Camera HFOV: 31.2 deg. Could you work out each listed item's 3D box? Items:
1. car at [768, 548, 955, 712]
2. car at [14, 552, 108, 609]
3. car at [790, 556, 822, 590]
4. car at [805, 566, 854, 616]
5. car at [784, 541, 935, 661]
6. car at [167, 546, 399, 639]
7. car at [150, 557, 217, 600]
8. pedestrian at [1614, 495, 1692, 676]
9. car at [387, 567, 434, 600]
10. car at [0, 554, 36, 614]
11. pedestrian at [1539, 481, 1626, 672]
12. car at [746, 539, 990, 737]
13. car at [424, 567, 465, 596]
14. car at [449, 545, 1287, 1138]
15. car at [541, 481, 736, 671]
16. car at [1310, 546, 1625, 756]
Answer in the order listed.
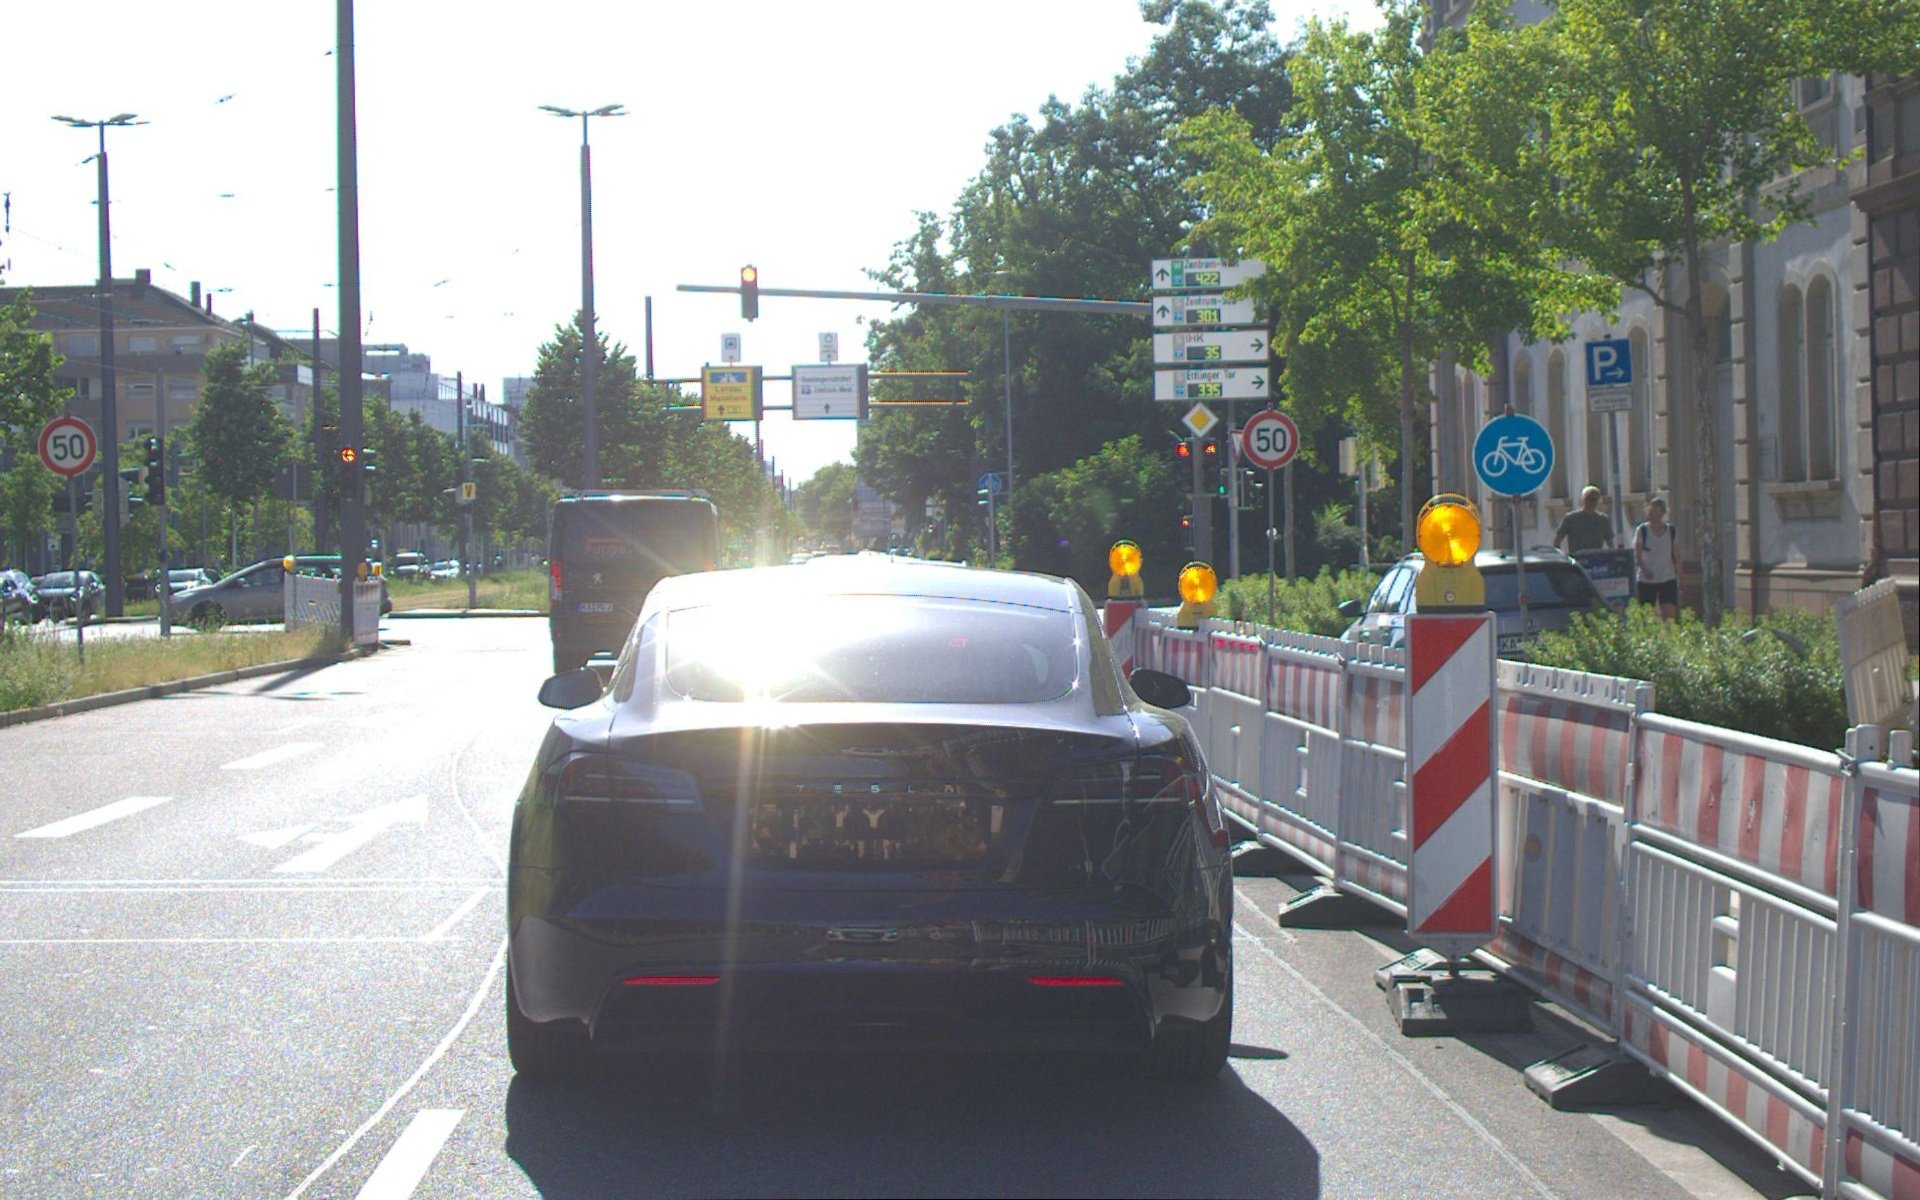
[{"bbox_3d":[-0.952,0.250,34.286,1.749,1.522,4.005,0,1,-1],"label":"car"},{"bbox_3d":[-26.942,-0.599,103.097,1.790,1.645,4.000,-1,1,-1],"label":"car"},{"bbox_3d":[-8.809,-1.548,196.638,1.791,1.867,3.850,1,0,-3],"label":"car"},{"bbox_3d":[-4.975,-0.350,130.643,1.791,1.867,3.850,1,0,-3],"label":"car"},{"bbox_3d":[-1.307,-0.002,43.320,1.791,1.423,3.850,1,0,-3],"label":"car"},{"bbox_3d":[-13.665,-0.164,69.403,4.511,1.786,2.001,-1,1,-12],"label":"car"},{"bbox_3d":[-30.725,-0.846,136.122,1.790,1.645,4.000,-1,1,-1],"label":"car"},{"bbox_3d":[7.123,-0.150,35.349,0.563,1.814,0.587,-4,1,-2],"label":"pedestrian"},{"bbox_3d":[-28.200,-0.877,176.578,1.808,1.645,4.000,-1,1,-1],"label":"car"},{"bbox_3d":[-26.941,-0.445,94.926,1.790,1.645,4.000,-1,1,-1],"label":"car"},{"bbox_3d":[6.394,-0.243,35.328,0.658,1.906,0.587,-4,1,-2],"label":"pedestrian"},{"bbox_3d":[-0.730,0.232,27.112,1.747,1.422,4.839,0,1,-2],"label":"car"},{"bbox_3d":[-29.639,-1.079,197.571,1.790,1.645,4.000,-1,1,-1],"label":"car"},{"bbox_3d":[-0.294,0.564,10.758,2.051,1.439,4.525,1,1,-2],"label":"car"},{"bbox_3d":[-4.003,-0.337,43.512,2.218,2.259,4.485,1,1,-3],"label":"car"},{"bbox_3d":[4.012,0.343,27.908,1.647,1.470,4.701,-3,1,-2],"label":"car"}]
